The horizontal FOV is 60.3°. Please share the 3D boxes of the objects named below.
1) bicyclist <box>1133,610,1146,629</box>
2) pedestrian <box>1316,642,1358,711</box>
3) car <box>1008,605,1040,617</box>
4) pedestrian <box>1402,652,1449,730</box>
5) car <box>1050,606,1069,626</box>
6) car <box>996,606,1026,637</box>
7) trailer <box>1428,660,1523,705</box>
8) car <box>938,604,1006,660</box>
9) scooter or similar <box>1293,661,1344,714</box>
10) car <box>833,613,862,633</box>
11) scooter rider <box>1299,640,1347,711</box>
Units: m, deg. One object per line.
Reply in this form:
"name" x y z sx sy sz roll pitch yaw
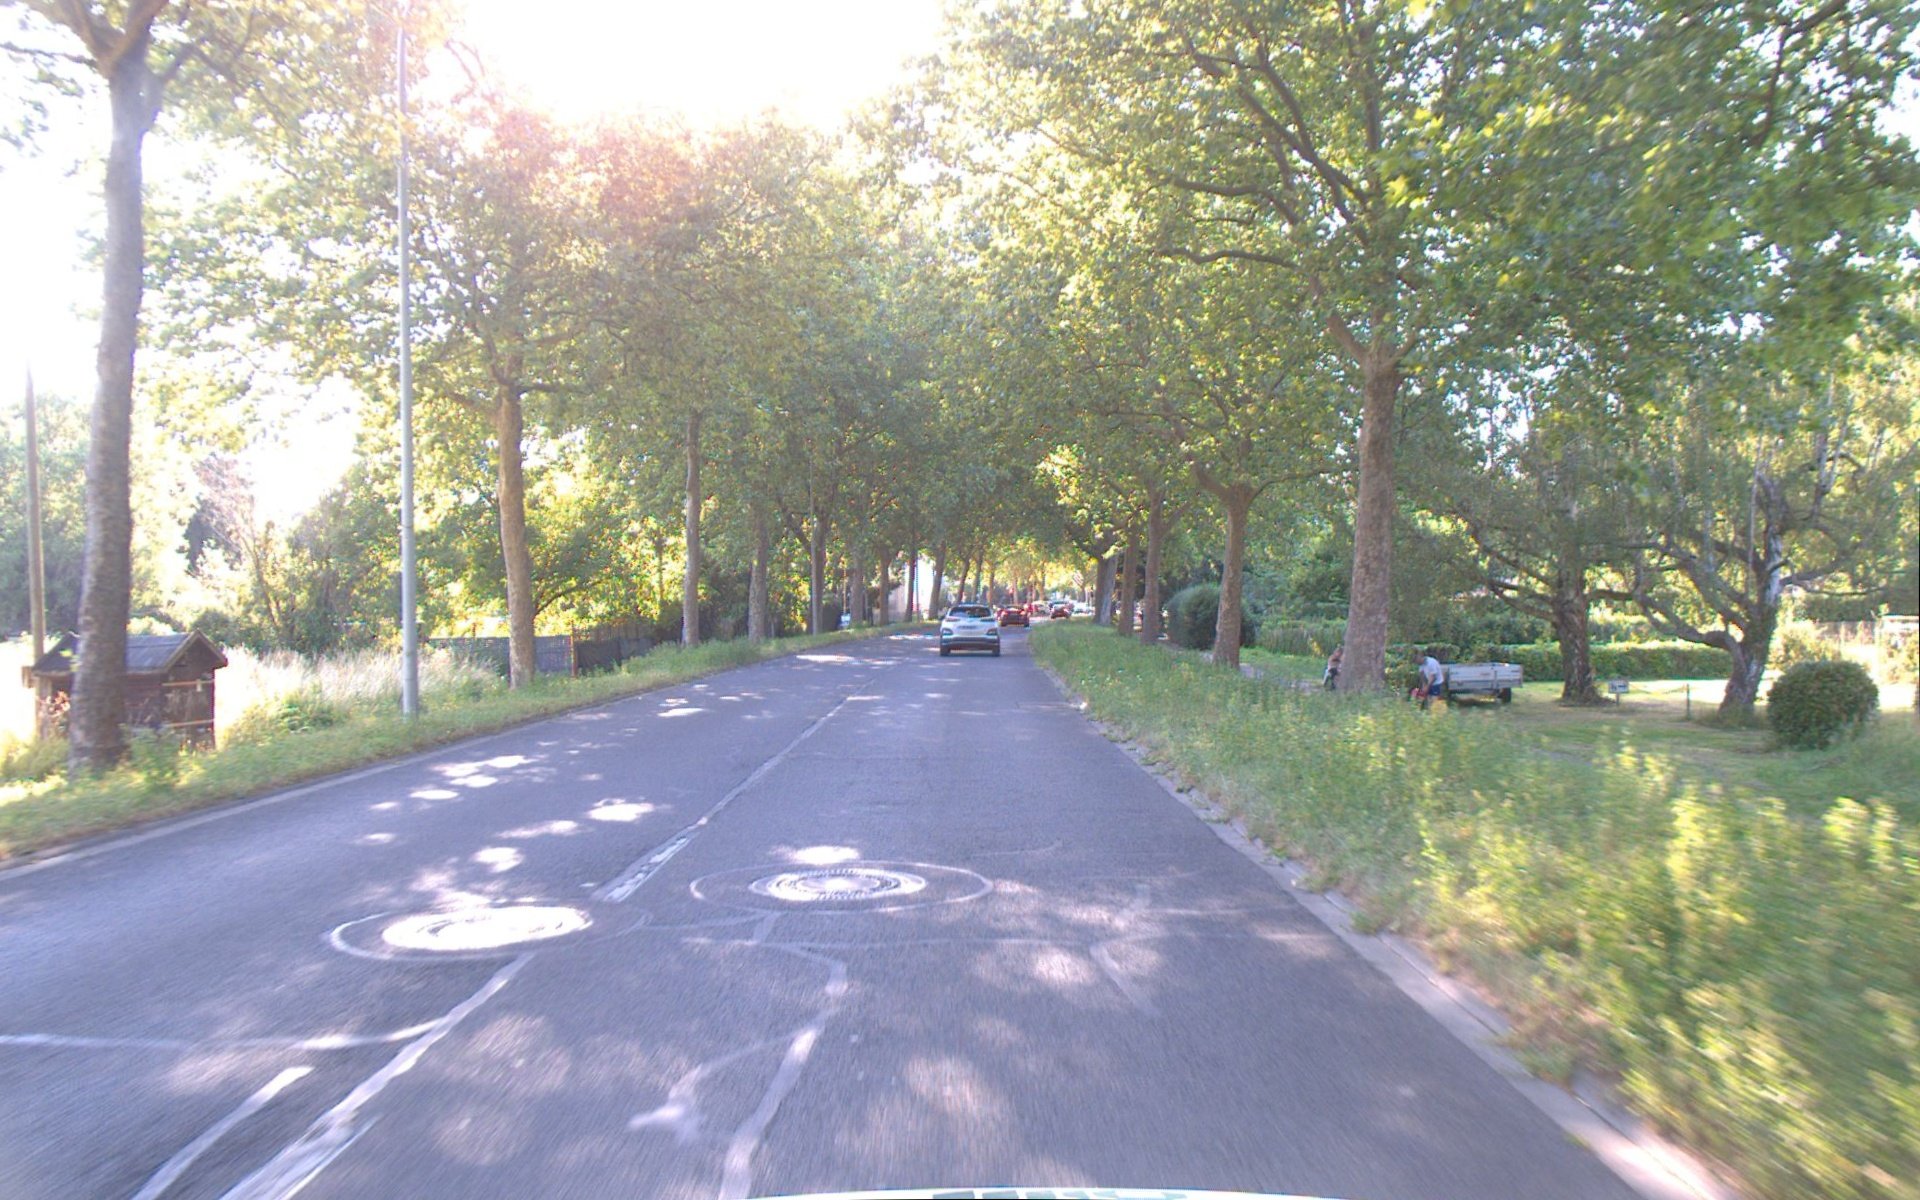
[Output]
"bicyclist" 13.006 1.426 119.799 0.720 1.390 0.769 0 -1 -9
"pedestrian" 8.973 1.798 39.324 0.768 1.604 0.843 0 -1 31
"car" 8.078 1.423 208.505 3.902 1.504 2.001 0 -1 8
"pedestrian" 9.886 1.918 35.152 0.824 1.604 1.208 0 -1 9
"car" 10.239 1.665 169.681 1.952 2.049 4.001 0 -1 4
"car" 3.471 1.453 112.002 1.952 2.049 4.001 0 -1 3
"trailer" 12.961 2.068 41.640 2.073 1.071 1.201 0 -1 5
"car" 0.389 0.950 50.050 1.952 1.602 4.000 0 -1 1
"scooter or similar" 8.276 2.010 38.193 1.587 1.155 0.335 1 -1 -44
"car" -8.369 1.686 123.007 1.715 1.327 4.001 -2 1 2
"scooter rider" 8.386 1.740 38.226 0.838 1.604 0.772 1 -1 -44
